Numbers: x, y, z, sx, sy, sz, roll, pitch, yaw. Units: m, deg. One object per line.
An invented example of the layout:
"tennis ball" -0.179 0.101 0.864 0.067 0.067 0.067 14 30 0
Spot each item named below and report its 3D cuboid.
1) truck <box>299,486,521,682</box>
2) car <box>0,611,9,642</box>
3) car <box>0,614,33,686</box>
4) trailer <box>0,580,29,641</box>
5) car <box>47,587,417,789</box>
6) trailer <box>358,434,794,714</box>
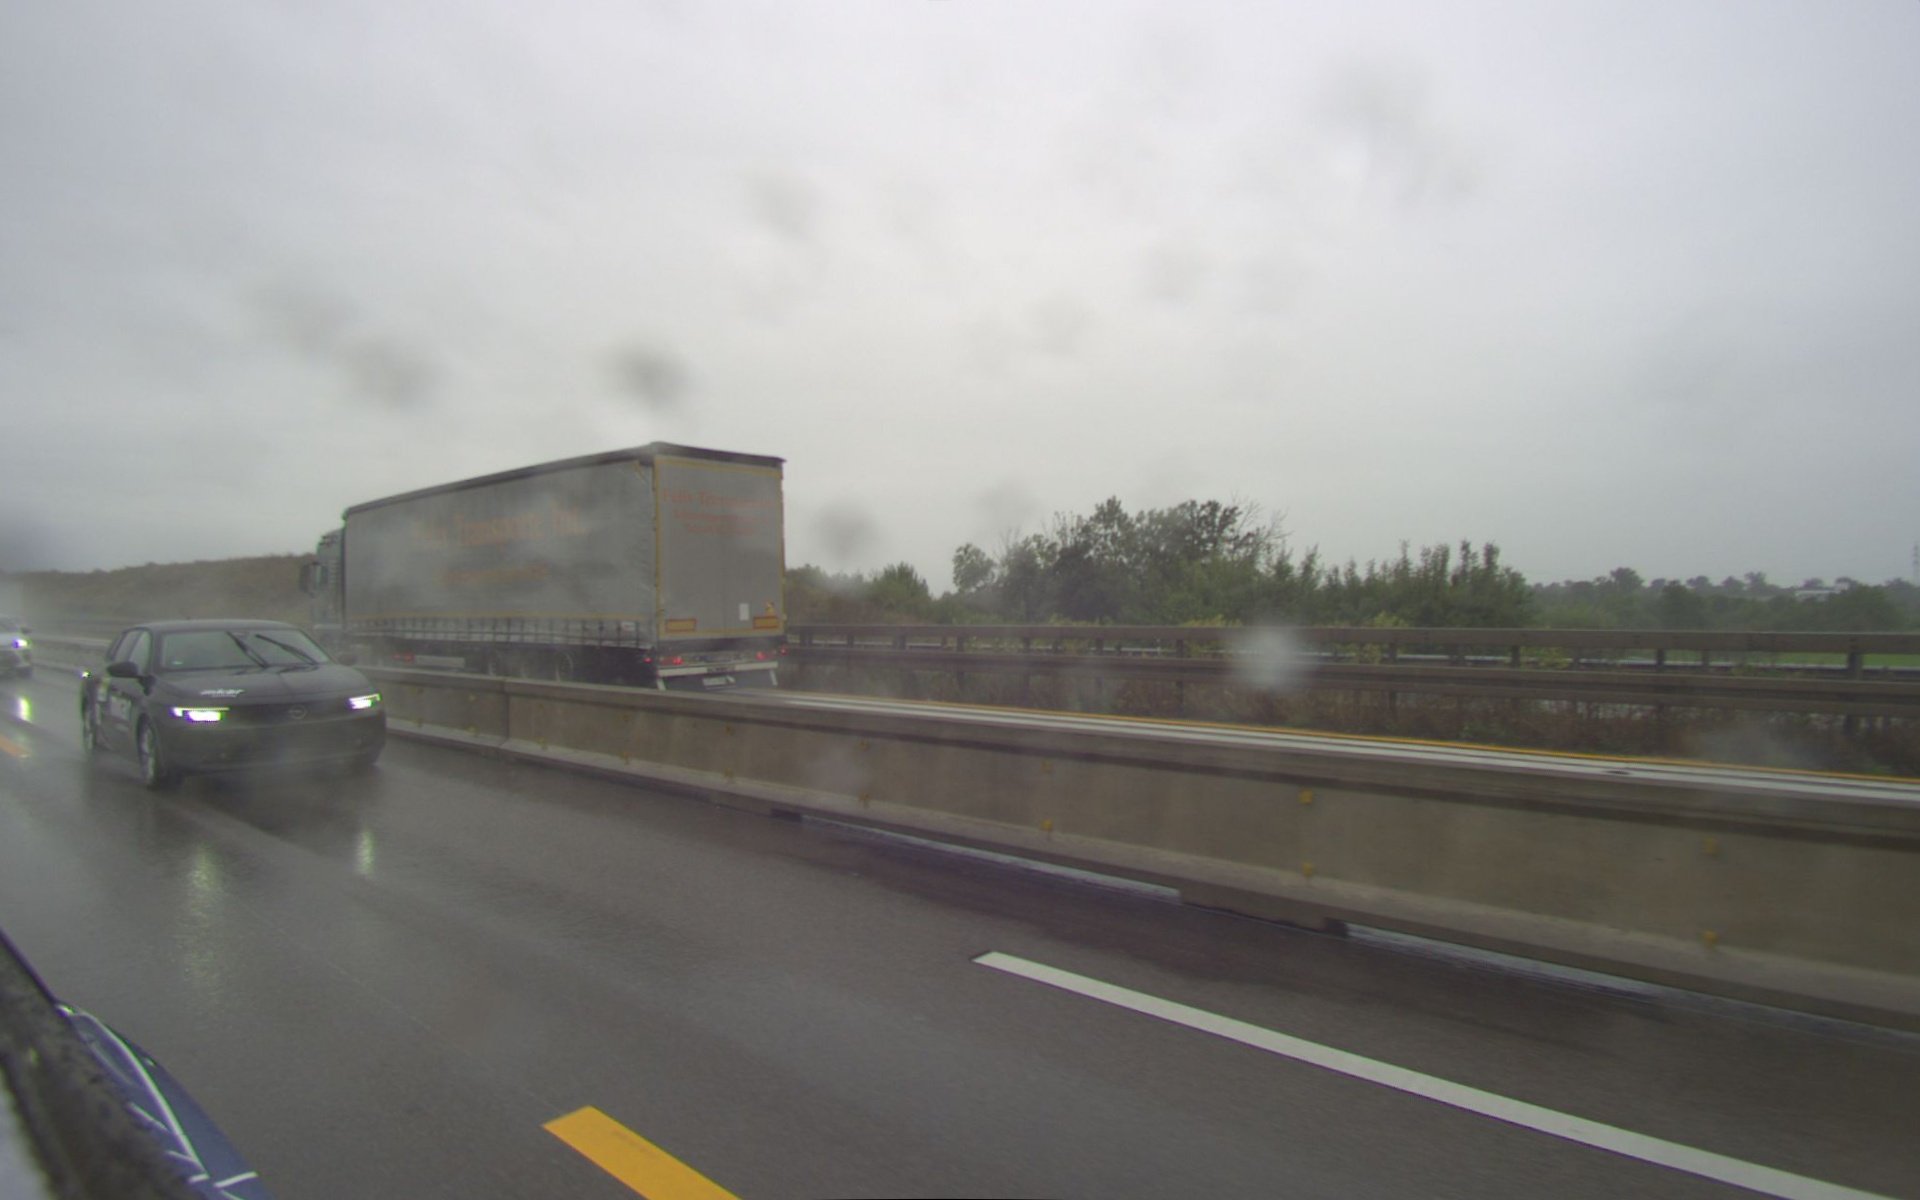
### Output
"truck" -13.549 -0.341 24.675 6.692 4.158 2.614 0 0 41
"car" -49.041 1.318 50.367 4.718 1.518 2.017 0 0 41
"car" -24.589 1.207 25.070 3.997 1.693 1.946 0 0 40
"trailer" -73.027 0.786 76.699 13.072 4.309 2.657 0 0 43
"car" -7.379 0.723 10.053 4.792 1.539 1.919 -1 -1 41
"trailer" -8.270 -0.364 20.030 12.309 4.140 2.622 0 0 41
